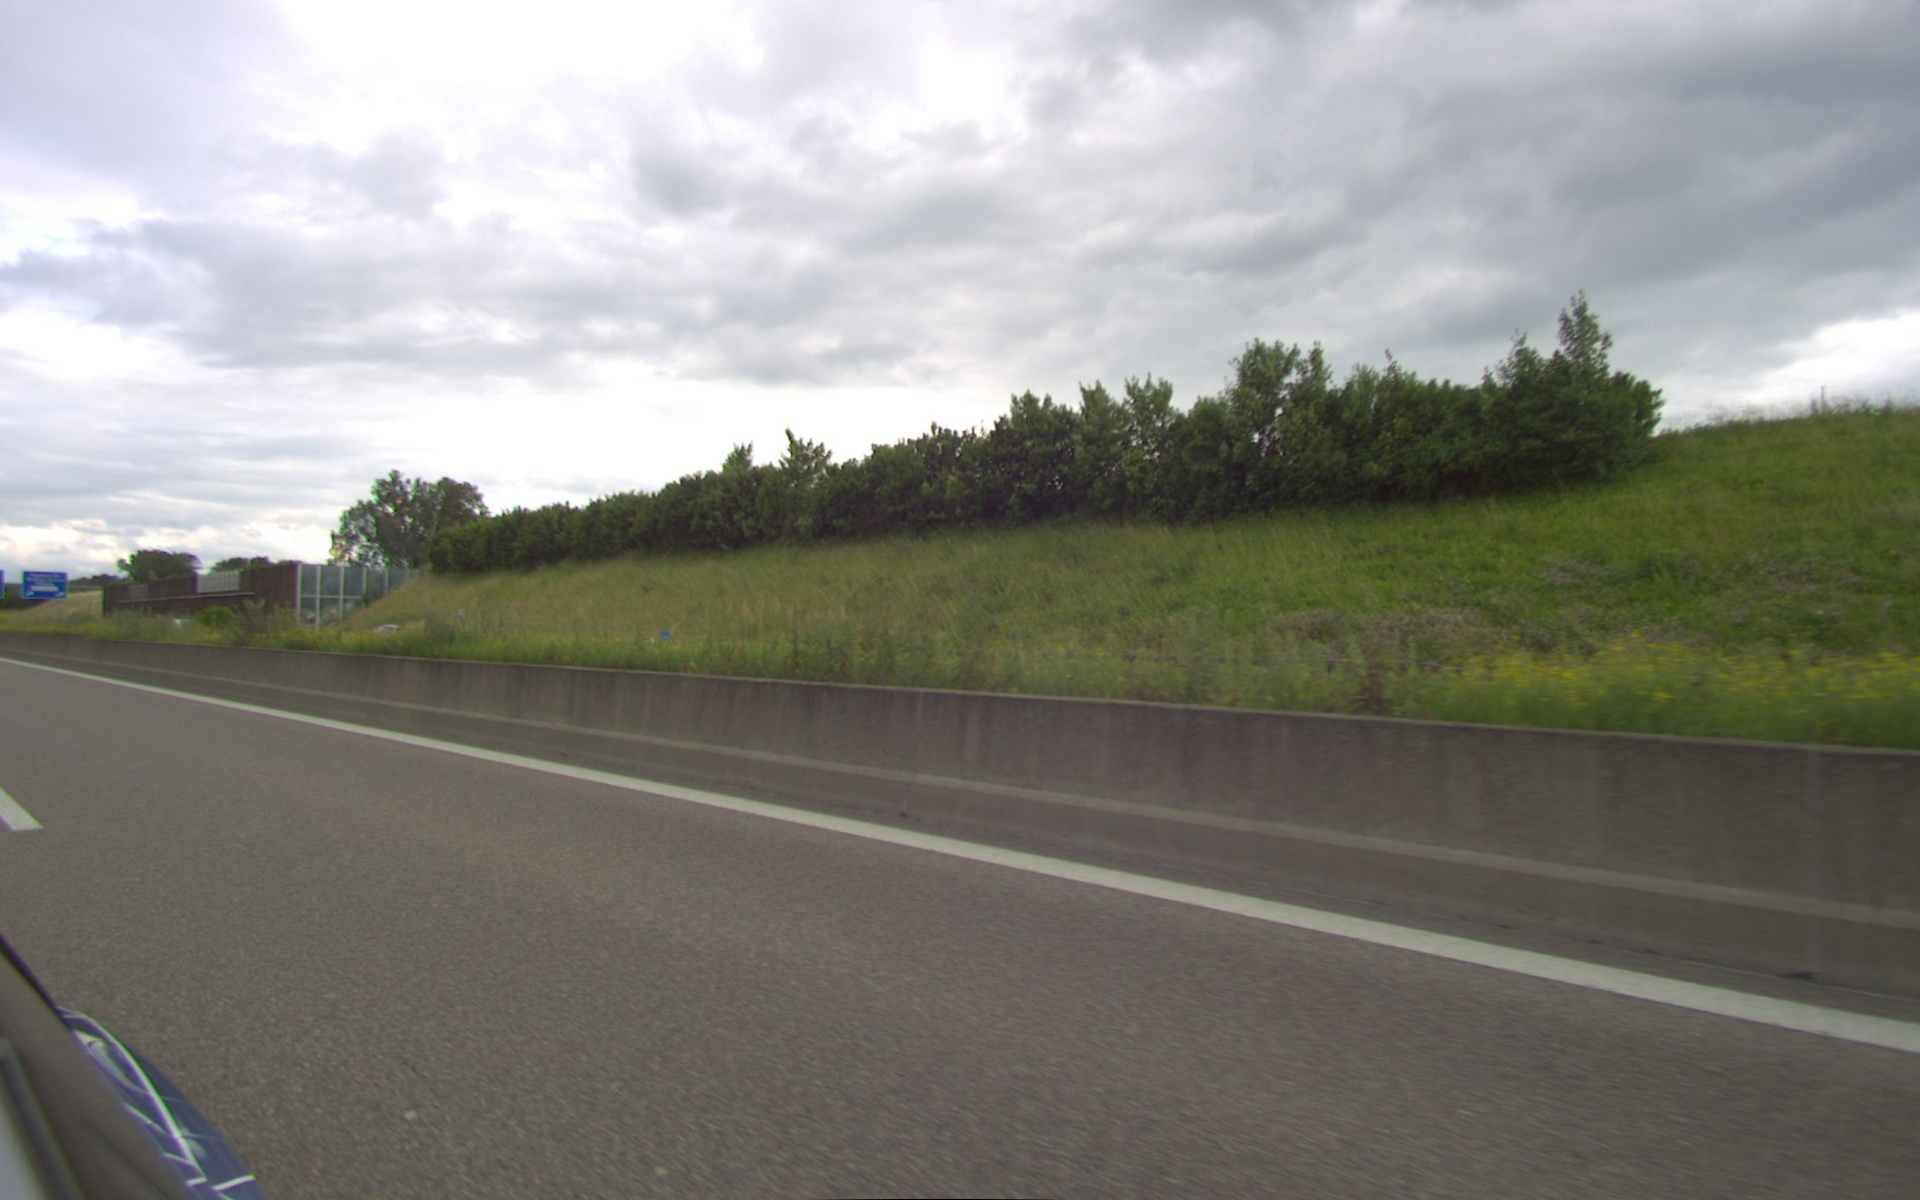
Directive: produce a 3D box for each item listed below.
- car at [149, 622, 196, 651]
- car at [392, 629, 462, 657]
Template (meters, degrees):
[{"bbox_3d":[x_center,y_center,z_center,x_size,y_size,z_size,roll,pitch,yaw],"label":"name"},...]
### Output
[{"bbox_3d":[-50.894,2.343,65.390,4.117,1.770,1.582,-1,-2,41],"label":"car"},{"bbox_3d":[-25.180,2.001,47.775,4.118,1.256,1.582,-1,-2,42],"label":"car"}]
